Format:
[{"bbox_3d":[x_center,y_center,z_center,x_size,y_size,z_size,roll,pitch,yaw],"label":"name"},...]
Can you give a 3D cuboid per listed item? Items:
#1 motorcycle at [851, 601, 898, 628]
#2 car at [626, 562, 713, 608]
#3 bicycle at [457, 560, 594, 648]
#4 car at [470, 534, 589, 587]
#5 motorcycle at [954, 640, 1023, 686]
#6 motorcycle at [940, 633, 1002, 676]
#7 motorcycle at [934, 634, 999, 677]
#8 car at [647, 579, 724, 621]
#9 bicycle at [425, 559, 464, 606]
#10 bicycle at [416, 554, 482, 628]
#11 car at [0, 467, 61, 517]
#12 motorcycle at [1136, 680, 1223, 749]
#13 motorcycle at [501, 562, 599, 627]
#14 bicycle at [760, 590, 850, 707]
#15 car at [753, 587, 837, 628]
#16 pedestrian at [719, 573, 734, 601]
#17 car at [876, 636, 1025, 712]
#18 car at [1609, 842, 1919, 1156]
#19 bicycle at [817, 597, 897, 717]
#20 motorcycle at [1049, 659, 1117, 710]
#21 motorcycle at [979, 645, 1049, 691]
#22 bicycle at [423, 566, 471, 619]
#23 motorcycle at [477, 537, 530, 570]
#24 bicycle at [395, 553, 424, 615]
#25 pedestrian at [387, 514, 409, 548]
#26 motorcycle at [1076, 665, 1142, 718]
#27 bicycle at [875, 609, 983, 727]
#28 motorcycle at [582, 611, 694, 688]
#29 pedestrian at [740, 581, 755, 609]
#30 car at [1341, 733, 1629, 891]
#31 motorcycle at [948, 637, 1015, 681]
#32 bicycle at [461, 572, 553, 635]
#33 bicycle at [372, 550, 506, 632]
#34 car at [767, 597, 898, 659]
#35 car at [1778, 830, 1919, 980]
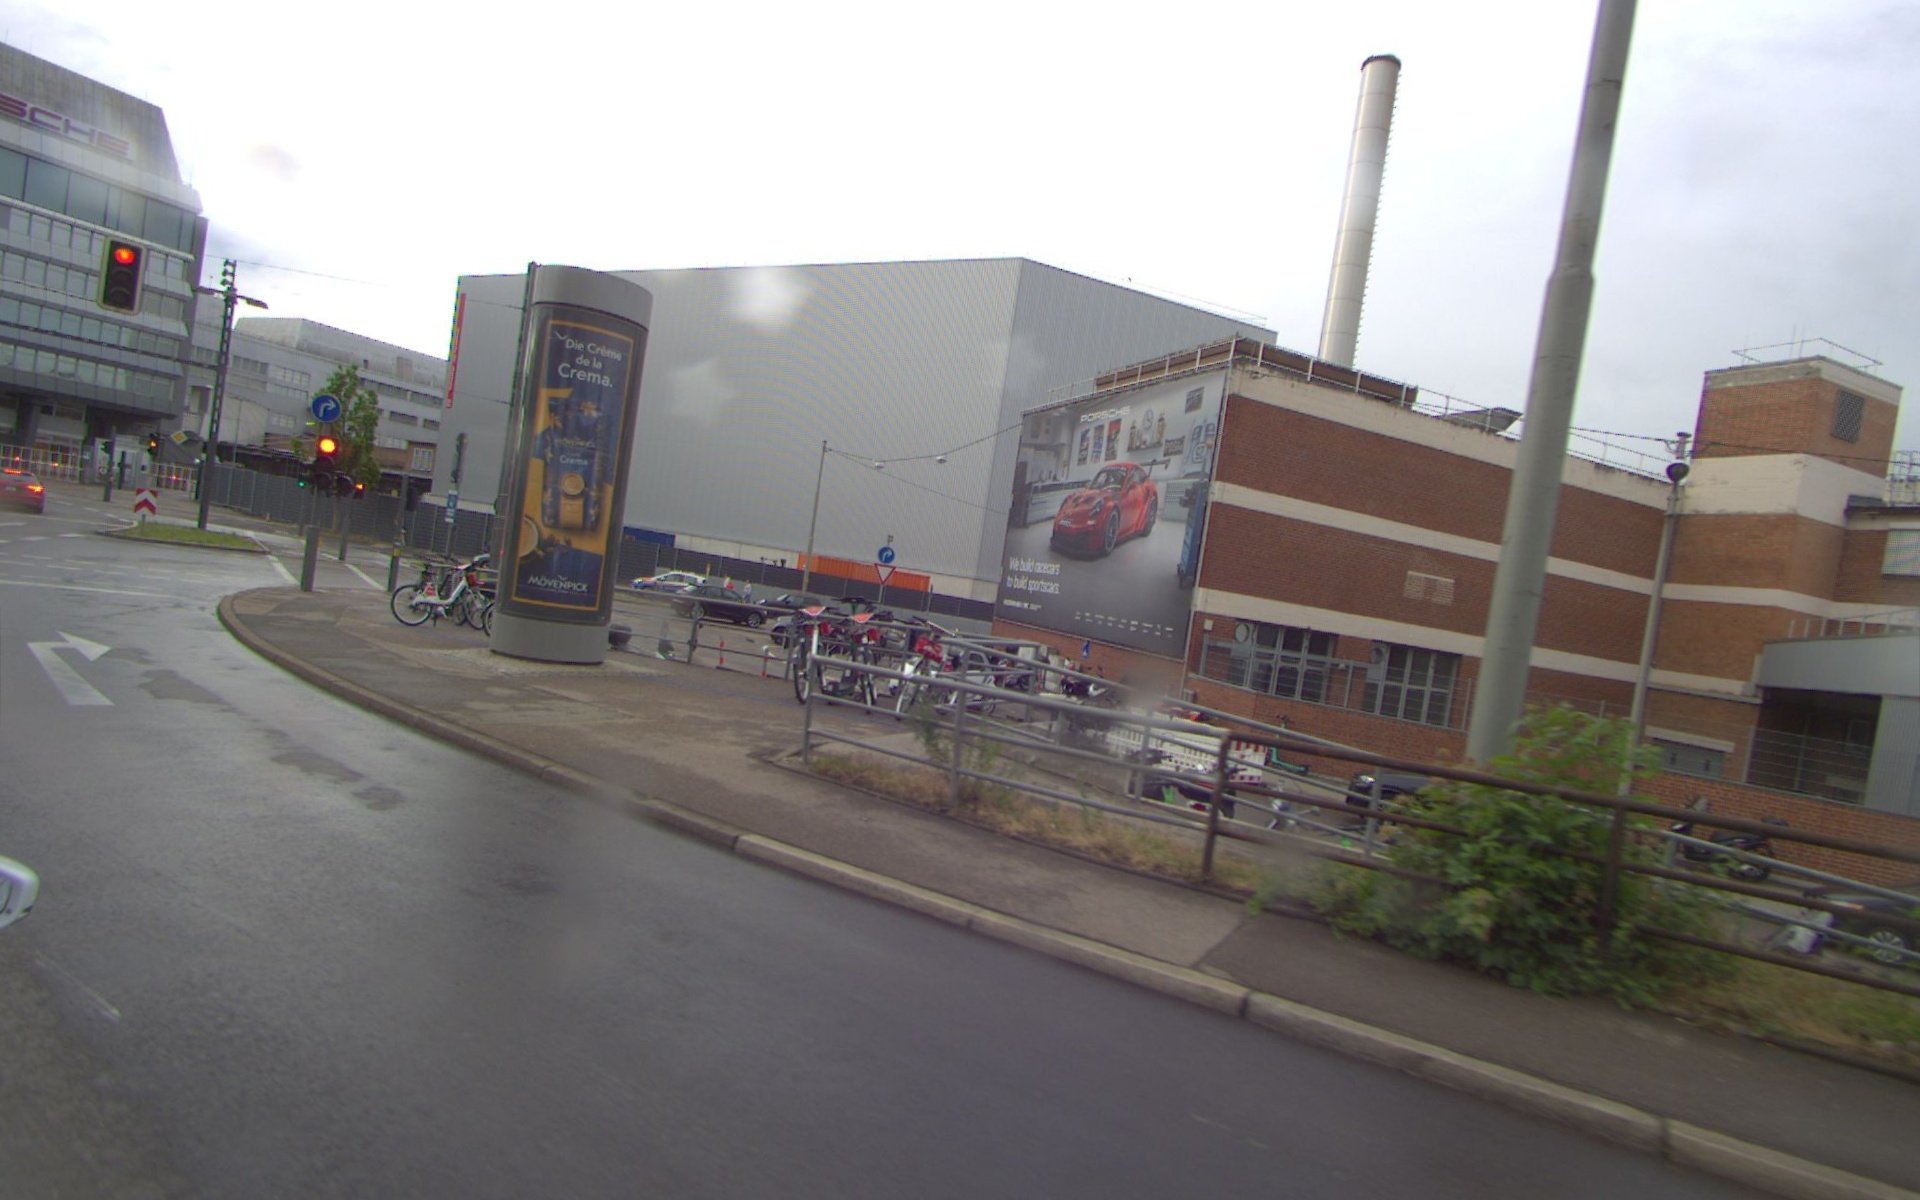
[{"bbox_3d":[-5.112,0.865,60.016,2.462,1.201,0.994,8,0,-23],"label":"motorcycle"},{"bbox_3d":[-14.513,-0.742,50.257,3.925,1.620,1.904,9,0,-18],"label":"car"},{"bbox_3d":[-6.581,0.093,15.328,0.582,1.176,1.801,7,0,33],"label":"bicycle"},{"bbox_3d":[-18.983,-1.725,44.596,4.520,1.558,1.750,10,0,-18],"label":"car"},{"bbox_3d":[0.902,1.979,31.798,1.993,1.206,0.606,6,4,-18],"label":"motorcycle"},{"bbox_3d":[0.382,1.914,35.302,1.984,1.206,0.609,8,4,7],"label":"motorcycle"},{"bbox_3d":[0.208,1.873,34.068,1.991,1.206,0.607,7,4,-16],"label":"motorcycle"},{"bbox_3d":[-11.038,-0.029,40.316,1.603,1.307,3.528,7,-1,-39],"label":"car"},{"bbox_3d":[-12.993,-0.441,25.393,0.380,1.111,1.745,7,0,-14],"label":"bicycle"},{"bbox_3d":[-9.236,-0.191,18.161,0.384,1.176,1.975,6,0,-44],"label":"bicycle"},{"bbox_3d":[-33.355,-3.852,35.566,1.762,1.482,3.698,7,-1,-34],"label":"car"},{"bbox_3d":[5.505,2.870,25.345,0.919,1.327,1.968,5,4,-30],"label":"motorcycle"},{"bbox_3d":[-11.160,-0.137,27.438,2.217,1.470,0.749,8,0,-37],"label":"motorcycle"},{"bbox_3d":[-1.840,0.552,12.214,0.588,1.239,1.932,7,0,2],"label":"bicycle"},{"bbox_3d":[-8.567,0.387,52.240,3.944,1.409,1.750,10,0,-18],"label":"car"},{"bbox_3d":[-13.045,-0.742,56.187,0.604,1.499,0.423,8,1,-12],"label":"pedestrian"},{"bbox_3d":[-0.194,1.911,25.573,1.669,1.500,3.544,11,2,42],"label":"car"},{"bbox_3d":[7.323,3.163,7.608,3.791,1.574,1.701,8,0,30],"label":"car"},{"bbox_3d":[-1.182,0.627,11.913,0.588,1.239,1.932,7,0,1],"label":"bicycle"},{"bbox_3d":[3.505,2.391,28.543,0.678,1.327,2.010,10,4,44],"label":"motorcycle"},{"bbox_3d":[1.677,2.106,30.936,1.998,1.206,0.605,6,4,-28],"label":"motorcycle"},{"bbox_3d":[-10.338,-0.169,20.255,0.528,0.916,1.796,7,-1,-35],"label":"bicycle"},{"bbox_3d":[-23.844,-2.425,52.569,2.327,1.361,0.650,8,1,-19],"label":"motorcycle"},{"bbox_3d":[-11.018,-0.345,20.144,0.382,1.133,1.737,6,0,-29],"label":"bicycle"},{"bbox_3d":[-28.750,-3.508,51.469,0.802,1.630,0.763,6,0,-31],"label":"pedestrian"},{"bbox_3d":[4.078,2.493,27.370,1.857,1.327,0.566,5,4,-42],"label":"motorcycle"},{"bbox_3d":[-0.318,0.754,11.698,0.588,1.193,1.933,7,0,15],"label":"bicycle"},{"bbox_3d":[-5.260,0.805,16.420,1.721,1.002,0.698,8,1,32],"label":"motorcycle"},{"bbox_3d":[-11.805,-0.268,55.925,0.640,1.499,0.438,8,1,-14],"label":"pedestrian"},{"bbox_3d":[9.315,3.665,18.089,4.191,1.628,1.702,11,0,31],"label":"car"},{"bbox_3d":[0.711,1.938,32.975,1.993,1.206,0.606,6,4,-18],"label":"motorcycle"},{"bbox_3d":[-8.397,0.049,18.607,2.145,0.916,0.691,7,-1,43],"label":"bicycle"},{"bbox_3d":[-8.657,-0.130,16.778,0.668,1.154,1.769,7,-1,37],"label":"bicycle"},{"bbox_3d":[-4.440,1.002,35.415,4.087,1.547,1.838,8,-1,7],"label":"car"},{"bbox_3d":[14.685,4.722,14.689,3.864,1.648,1.701,8,0,31],"label":"car"}]
